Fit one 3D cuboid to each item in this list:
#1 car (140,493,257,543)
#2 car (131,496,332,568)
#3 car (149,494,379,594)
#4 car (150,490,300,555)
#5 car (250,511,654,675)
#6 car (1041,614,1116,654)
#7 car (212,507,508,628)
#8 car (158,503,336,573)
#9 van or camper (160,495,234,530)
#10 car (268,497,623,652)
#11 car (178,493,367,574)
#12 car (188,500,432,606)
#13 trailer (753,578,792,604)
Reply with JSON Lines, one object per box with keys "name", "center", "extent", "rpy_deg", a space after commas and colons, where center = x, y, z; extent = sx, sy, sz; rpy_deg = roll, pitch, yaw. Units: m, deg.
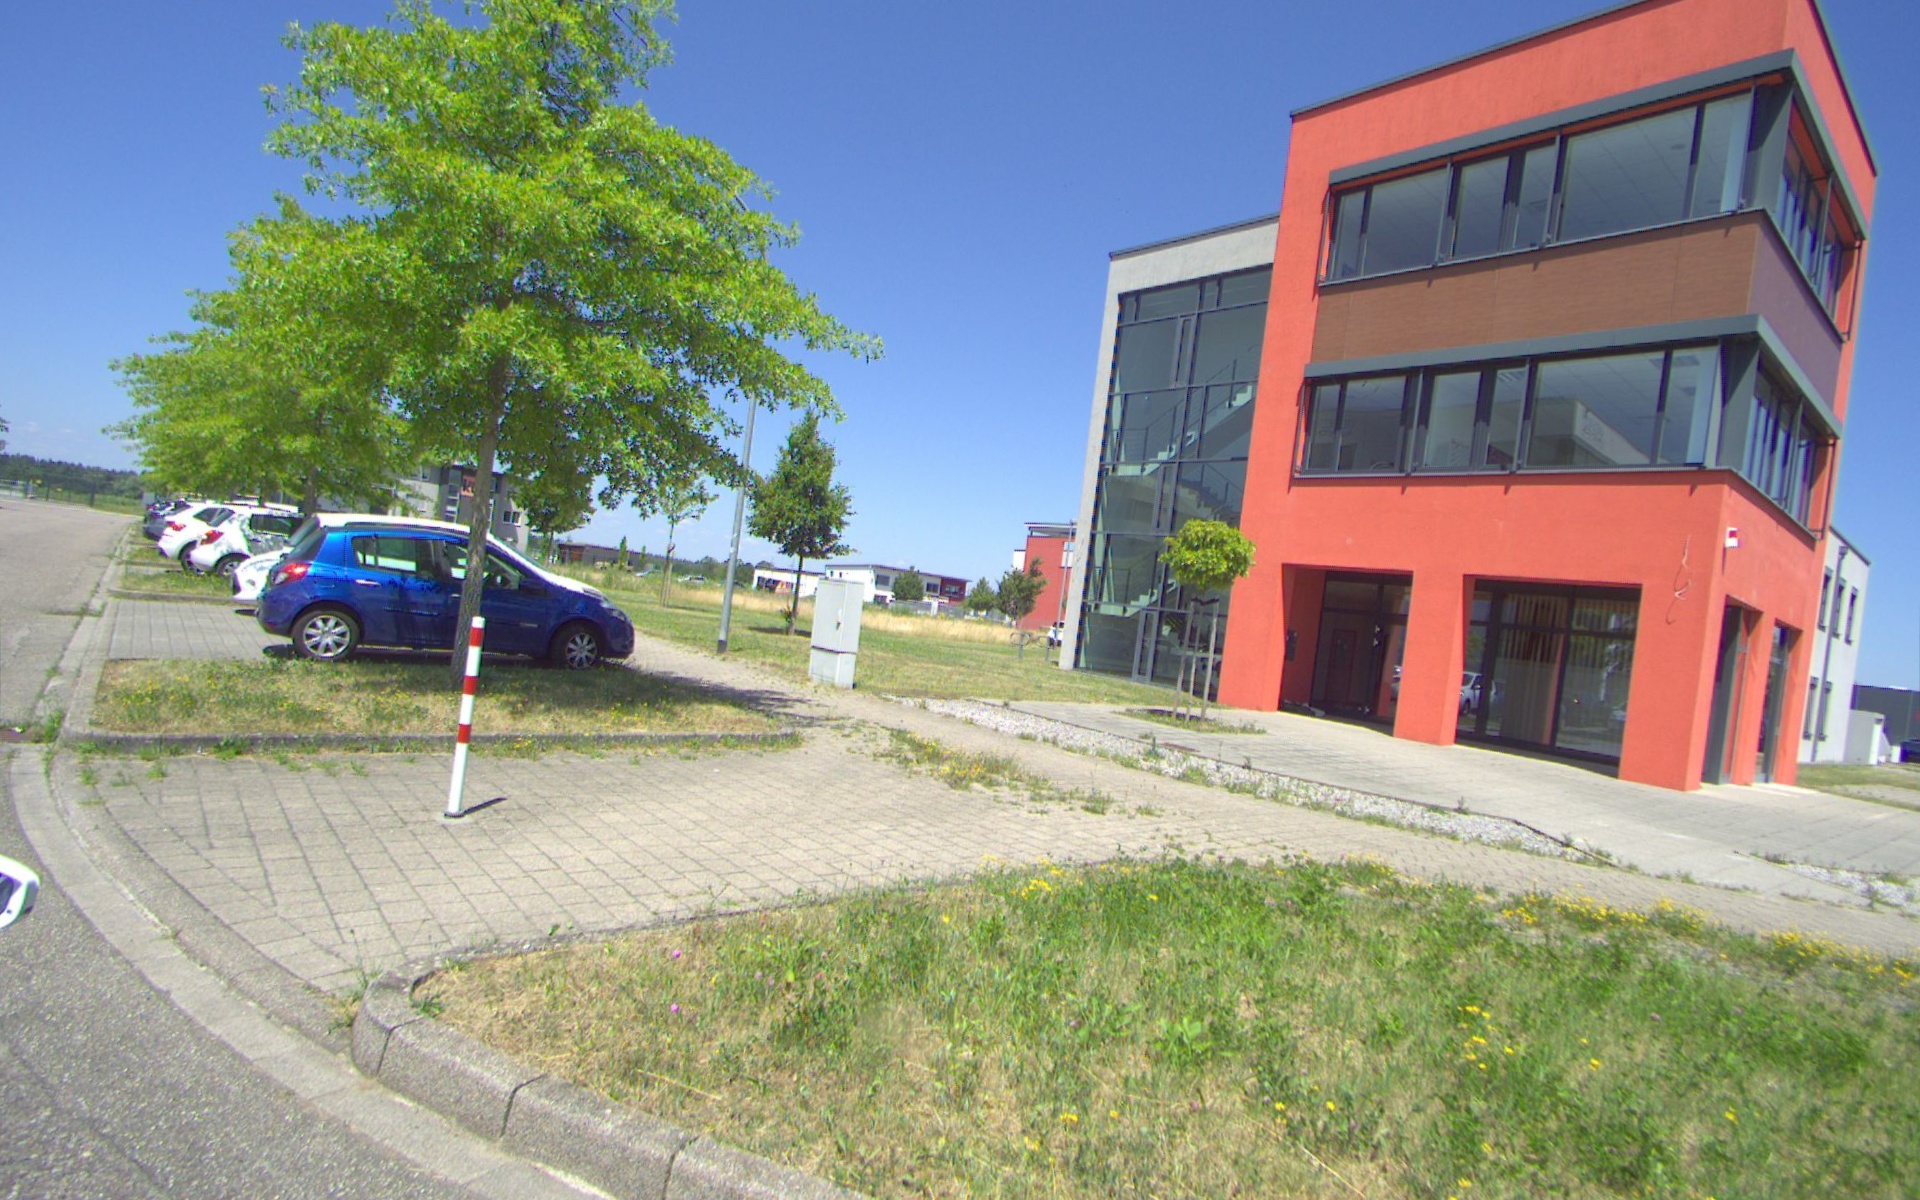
{"name": "car", "center": [-35.093, -3.753, 46.416], "extent": [4.156, 1.718, 1.761], "rpy_deg": [6, 1, -41]}
{"name": "car", "center": [-22.157, -2.047, 30.733], "extent": [4.700, 1.581, 1.890], "rpy_deg": [6, 1, -44]}
{"name": "car", "center": [-14.813, -1.178, 21.606], "extent": [3.811, 1.573, 1.762], "rpy_deg": [7, 1, -35]}
{"name": "car", "center": [-27.665, -2.893, 37.950], "extent": [4.381, 1.853, 1.776], "rpy_deg": [6, 1, -39]}
{"name": "car", "center": [-5.911, -0.042, 11.883], "extent": [3.971, 1.510, 1.710], "rpy_deg": [5, 2, -36]}
{"name": "car", "center": [5.800, 1.685, 49.208], "extent": [3.309, 1.528, 1.700], "rpy_deg": [7, 0, -40]}
{"name": "car", "center": [-9.184, -0.455, 15.557], "extent": [3.605, 1.482, 1.590], "rpy_deg": [4, 2, -45]}
{"name": "car", "center": [-20.461, -1.755, 28.951], "extent": [4.027, 1.471, 1.627], "rpy_deg": [6, 1, -40]}
{"name": "van or camper", "center": [-67.554, -7.739, 89.123], "extent": [4.919, 2.188, 1.978], "rpy_deg": [9, -3, -41]}
{"name": "car", "center": [-7.025, -0.312, 13.902], "extent": [4.083, 1.672, 1.756], "rpy_deg": [5, 2, -35]}
{"name": "car", "center": [-18.606, -1.784, 27.309], "extent": [4.027, 1.646, 1.674], "rpy_deg": [6, 1, -40]}
{"name": "car", "center": [-12.881, -0.905, 20.038], "extent": [3.818, 1.543, 1.759], "rpy_deg": [7, 0, -40]}
{"name": "trailer", "center": [-23.081, -1.062, 123.757], "extent": [3.973, 2.632, 2.206], "rpy_deg": [7, 0, -42]}
